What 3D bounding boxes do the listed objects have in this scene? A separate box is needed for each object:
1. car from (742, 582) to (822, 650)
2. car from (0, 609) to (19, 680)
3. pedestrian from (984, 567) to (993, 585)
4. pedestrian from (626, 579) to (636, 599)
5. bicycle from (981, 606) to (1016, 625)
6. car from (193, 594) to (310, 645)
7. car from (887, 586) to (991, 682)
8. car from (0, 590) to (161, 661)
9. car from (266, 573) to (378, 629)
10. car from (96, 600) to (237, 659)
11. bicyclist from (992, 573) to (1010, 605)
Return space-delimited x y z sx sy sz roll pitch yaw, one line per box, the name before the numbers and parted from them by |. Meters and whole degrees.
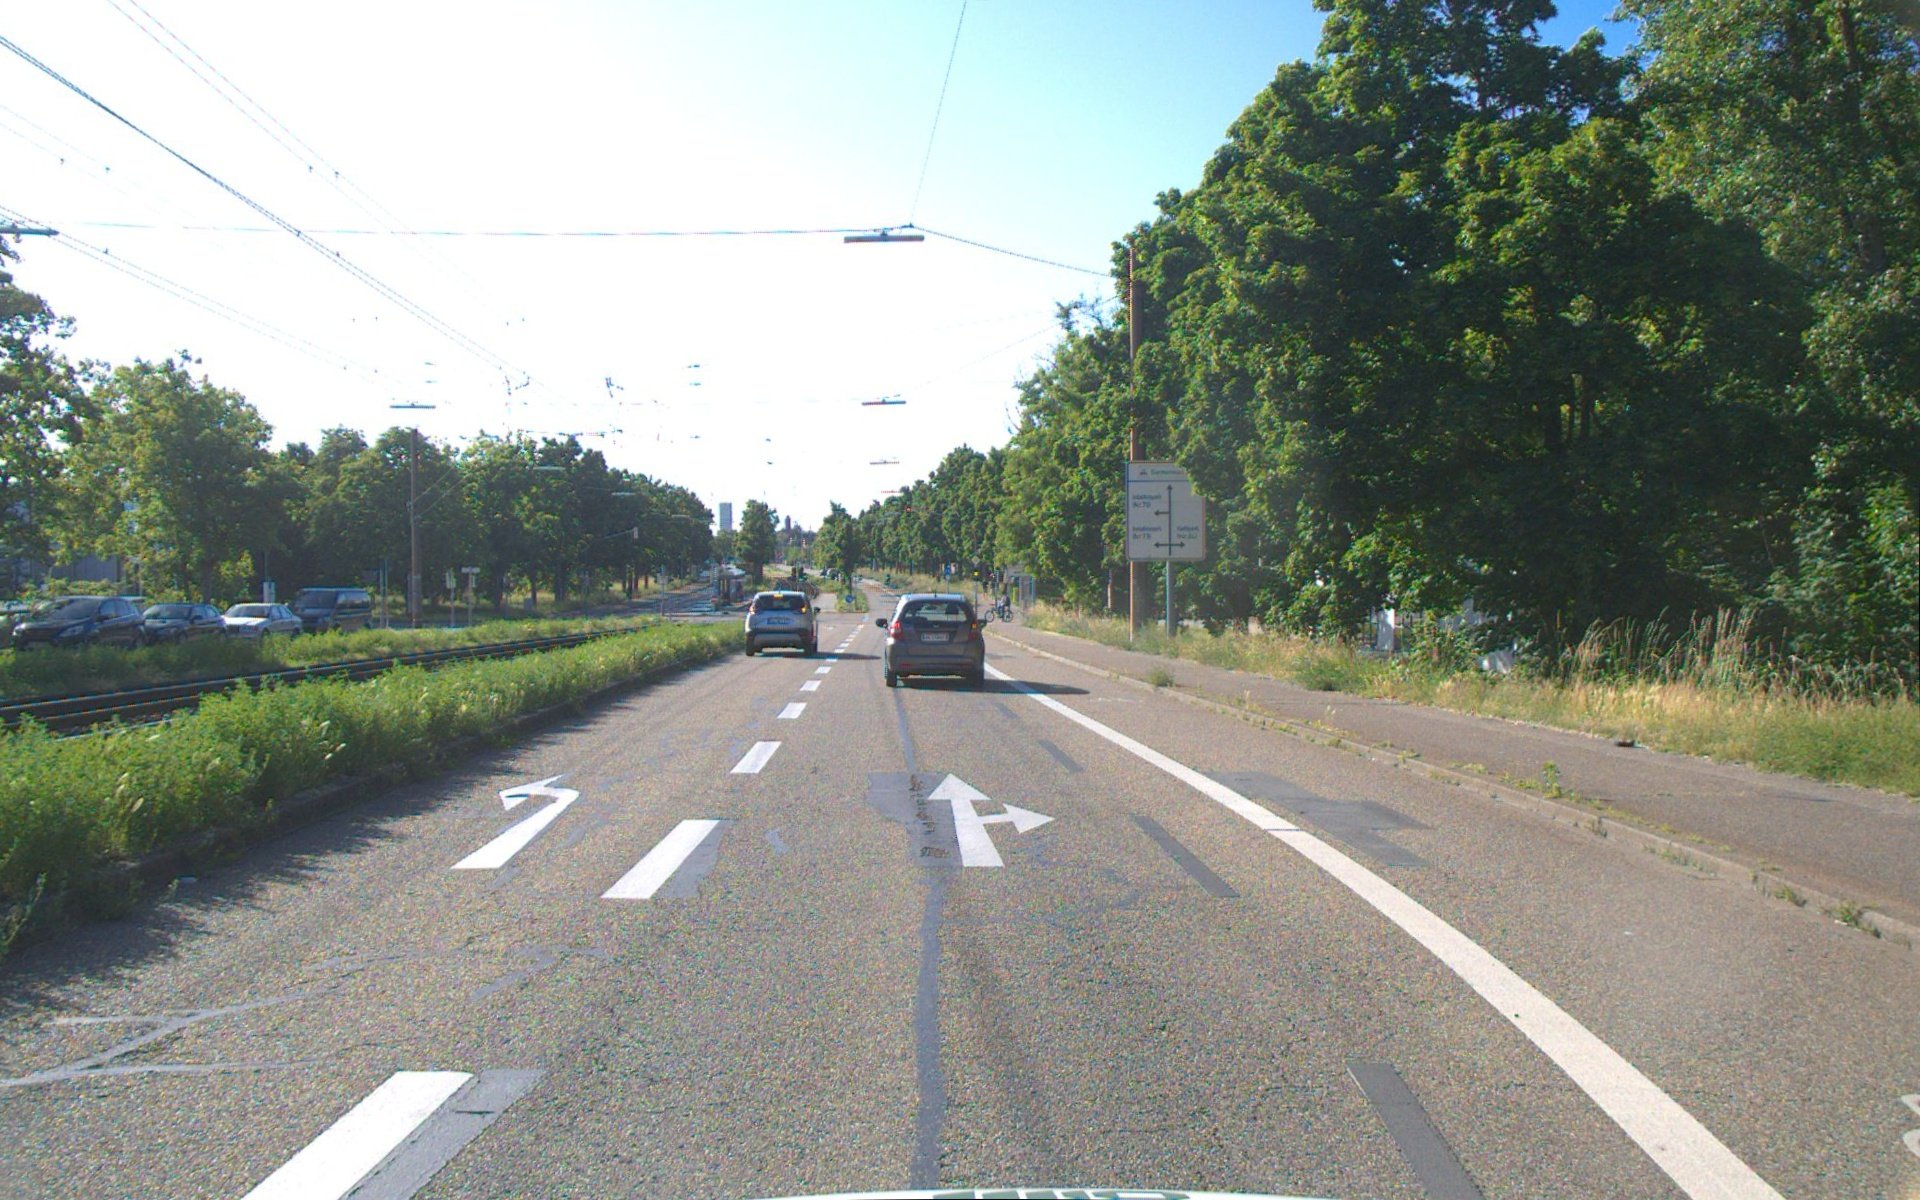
car | -4.553 0.373 42.872 1.814 1.634 4.252 0 1 -3
car | -21.500 0.970 34.323 1.701 1.520 4.324 1 0 -4
pedestrian | 2.550 -2.156 147.618 0.665 1.638 0.720 1 0 -5
pedestrian | -32.474 -1.085 163.428 0.823 2.049 0.862 0 1 -4
bicycle | 2.199 0.873 94.869 1.879 1.015 0.765 -3 0 8
car | -22.568 0.583 52.894 1.889 1.462 4.693 0 1 -2
car | -0.396 0.537 28.785 1.672 1.535 3.999 0 1 -2
car | -21.841 0.596 41.210 1.954 1.601 4.431 0 1 -4
car | -22.774 0.008 59.255 2.152 1.924 4.791 0 1 -1
car | -21.999 0.775 46.058 1.953 1.462 4.413 0 1 -2
bicyclist | 2.345 -0.645 94.838 0.890 1.775 0.765 -2 0 8
